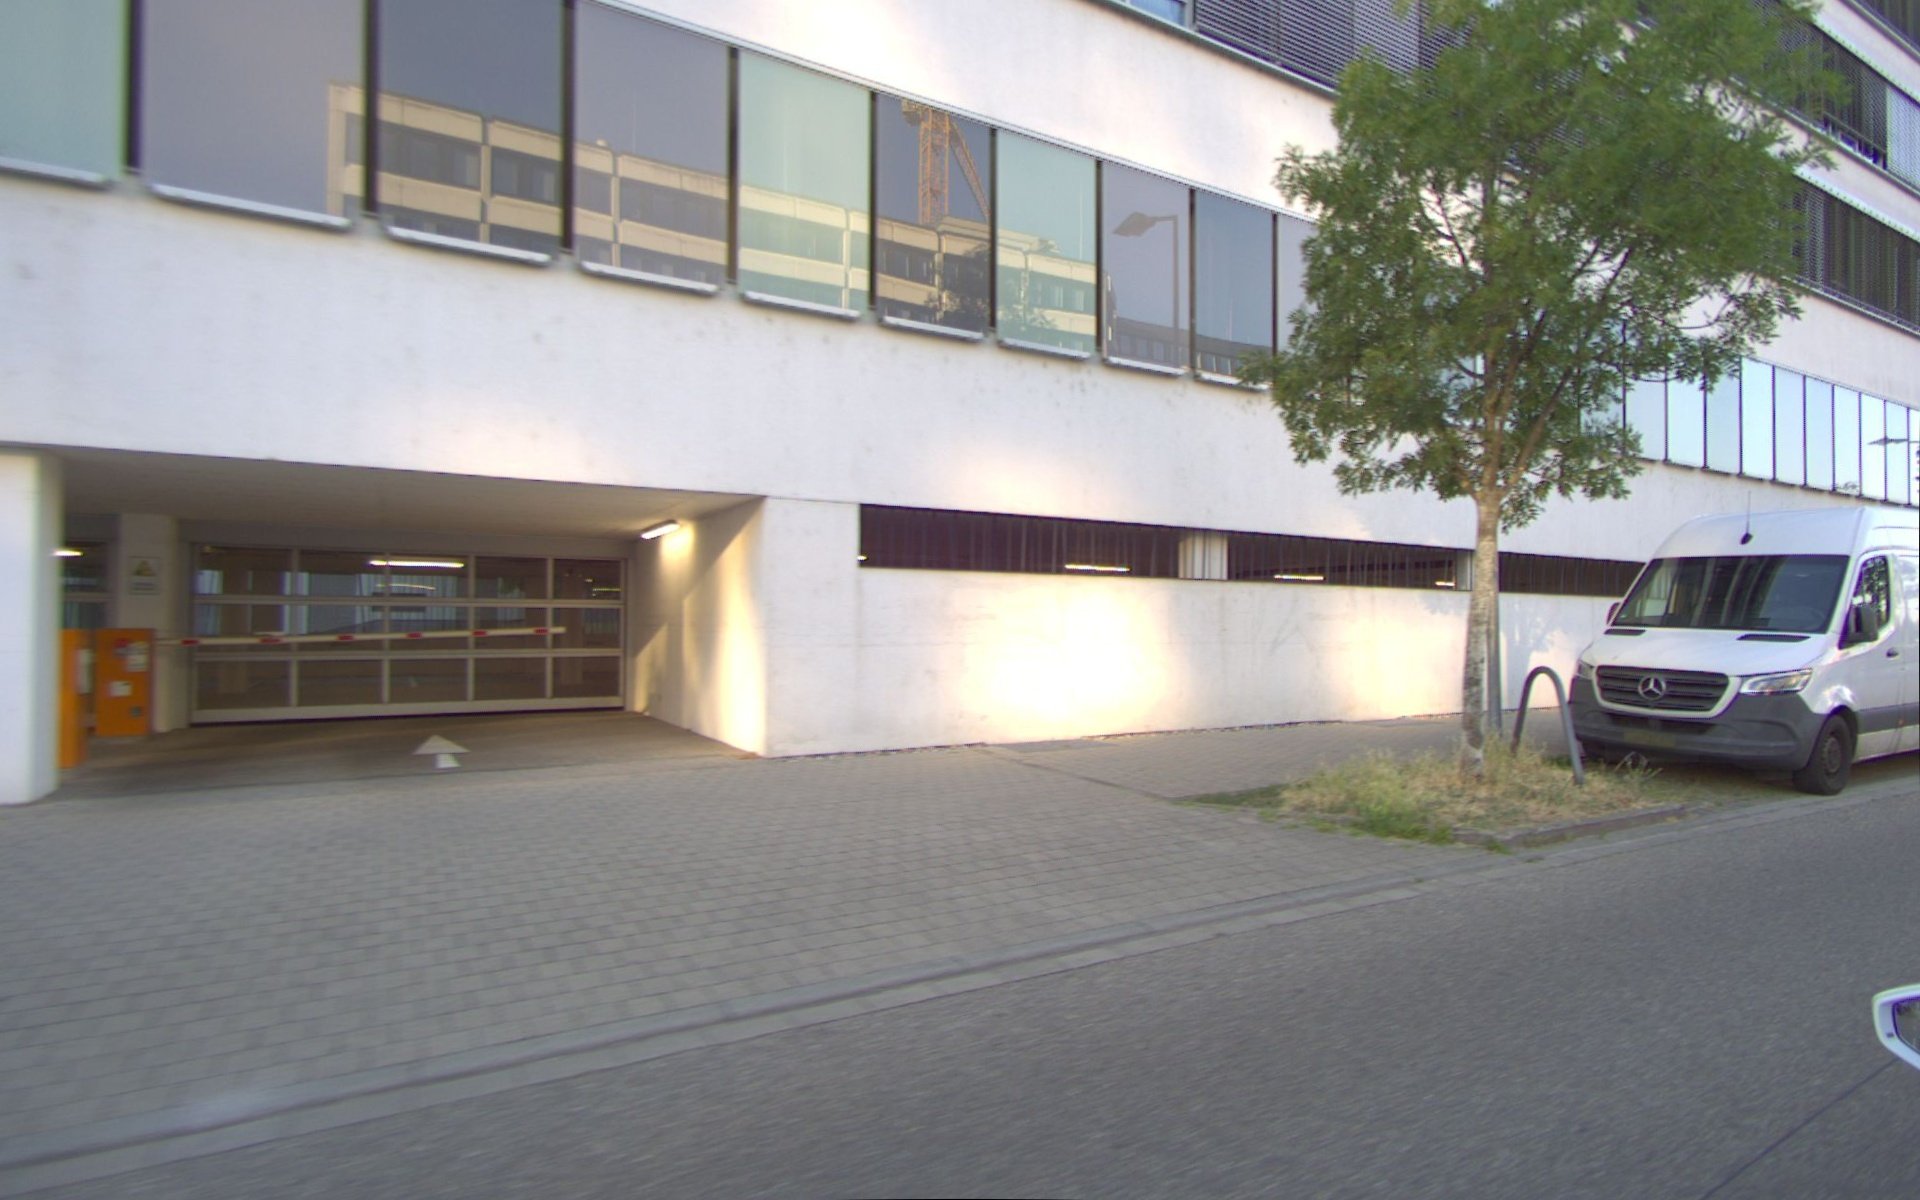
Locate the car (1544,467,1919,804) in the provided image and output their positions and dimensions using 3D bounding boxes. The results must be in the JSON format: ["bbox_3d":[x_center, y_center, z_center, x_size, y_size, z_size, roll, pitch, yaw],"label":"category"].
[{"bbox_3d":[9.015,0.291,10.455,6.811,2.652,1.949,1,1,-30],"label":"car"}]

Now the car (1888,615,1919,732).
[{"bbox_3d":[13.969,0.957,13.264,3.862,1.459,1.744,0,1,-35],"label":"car"}]
